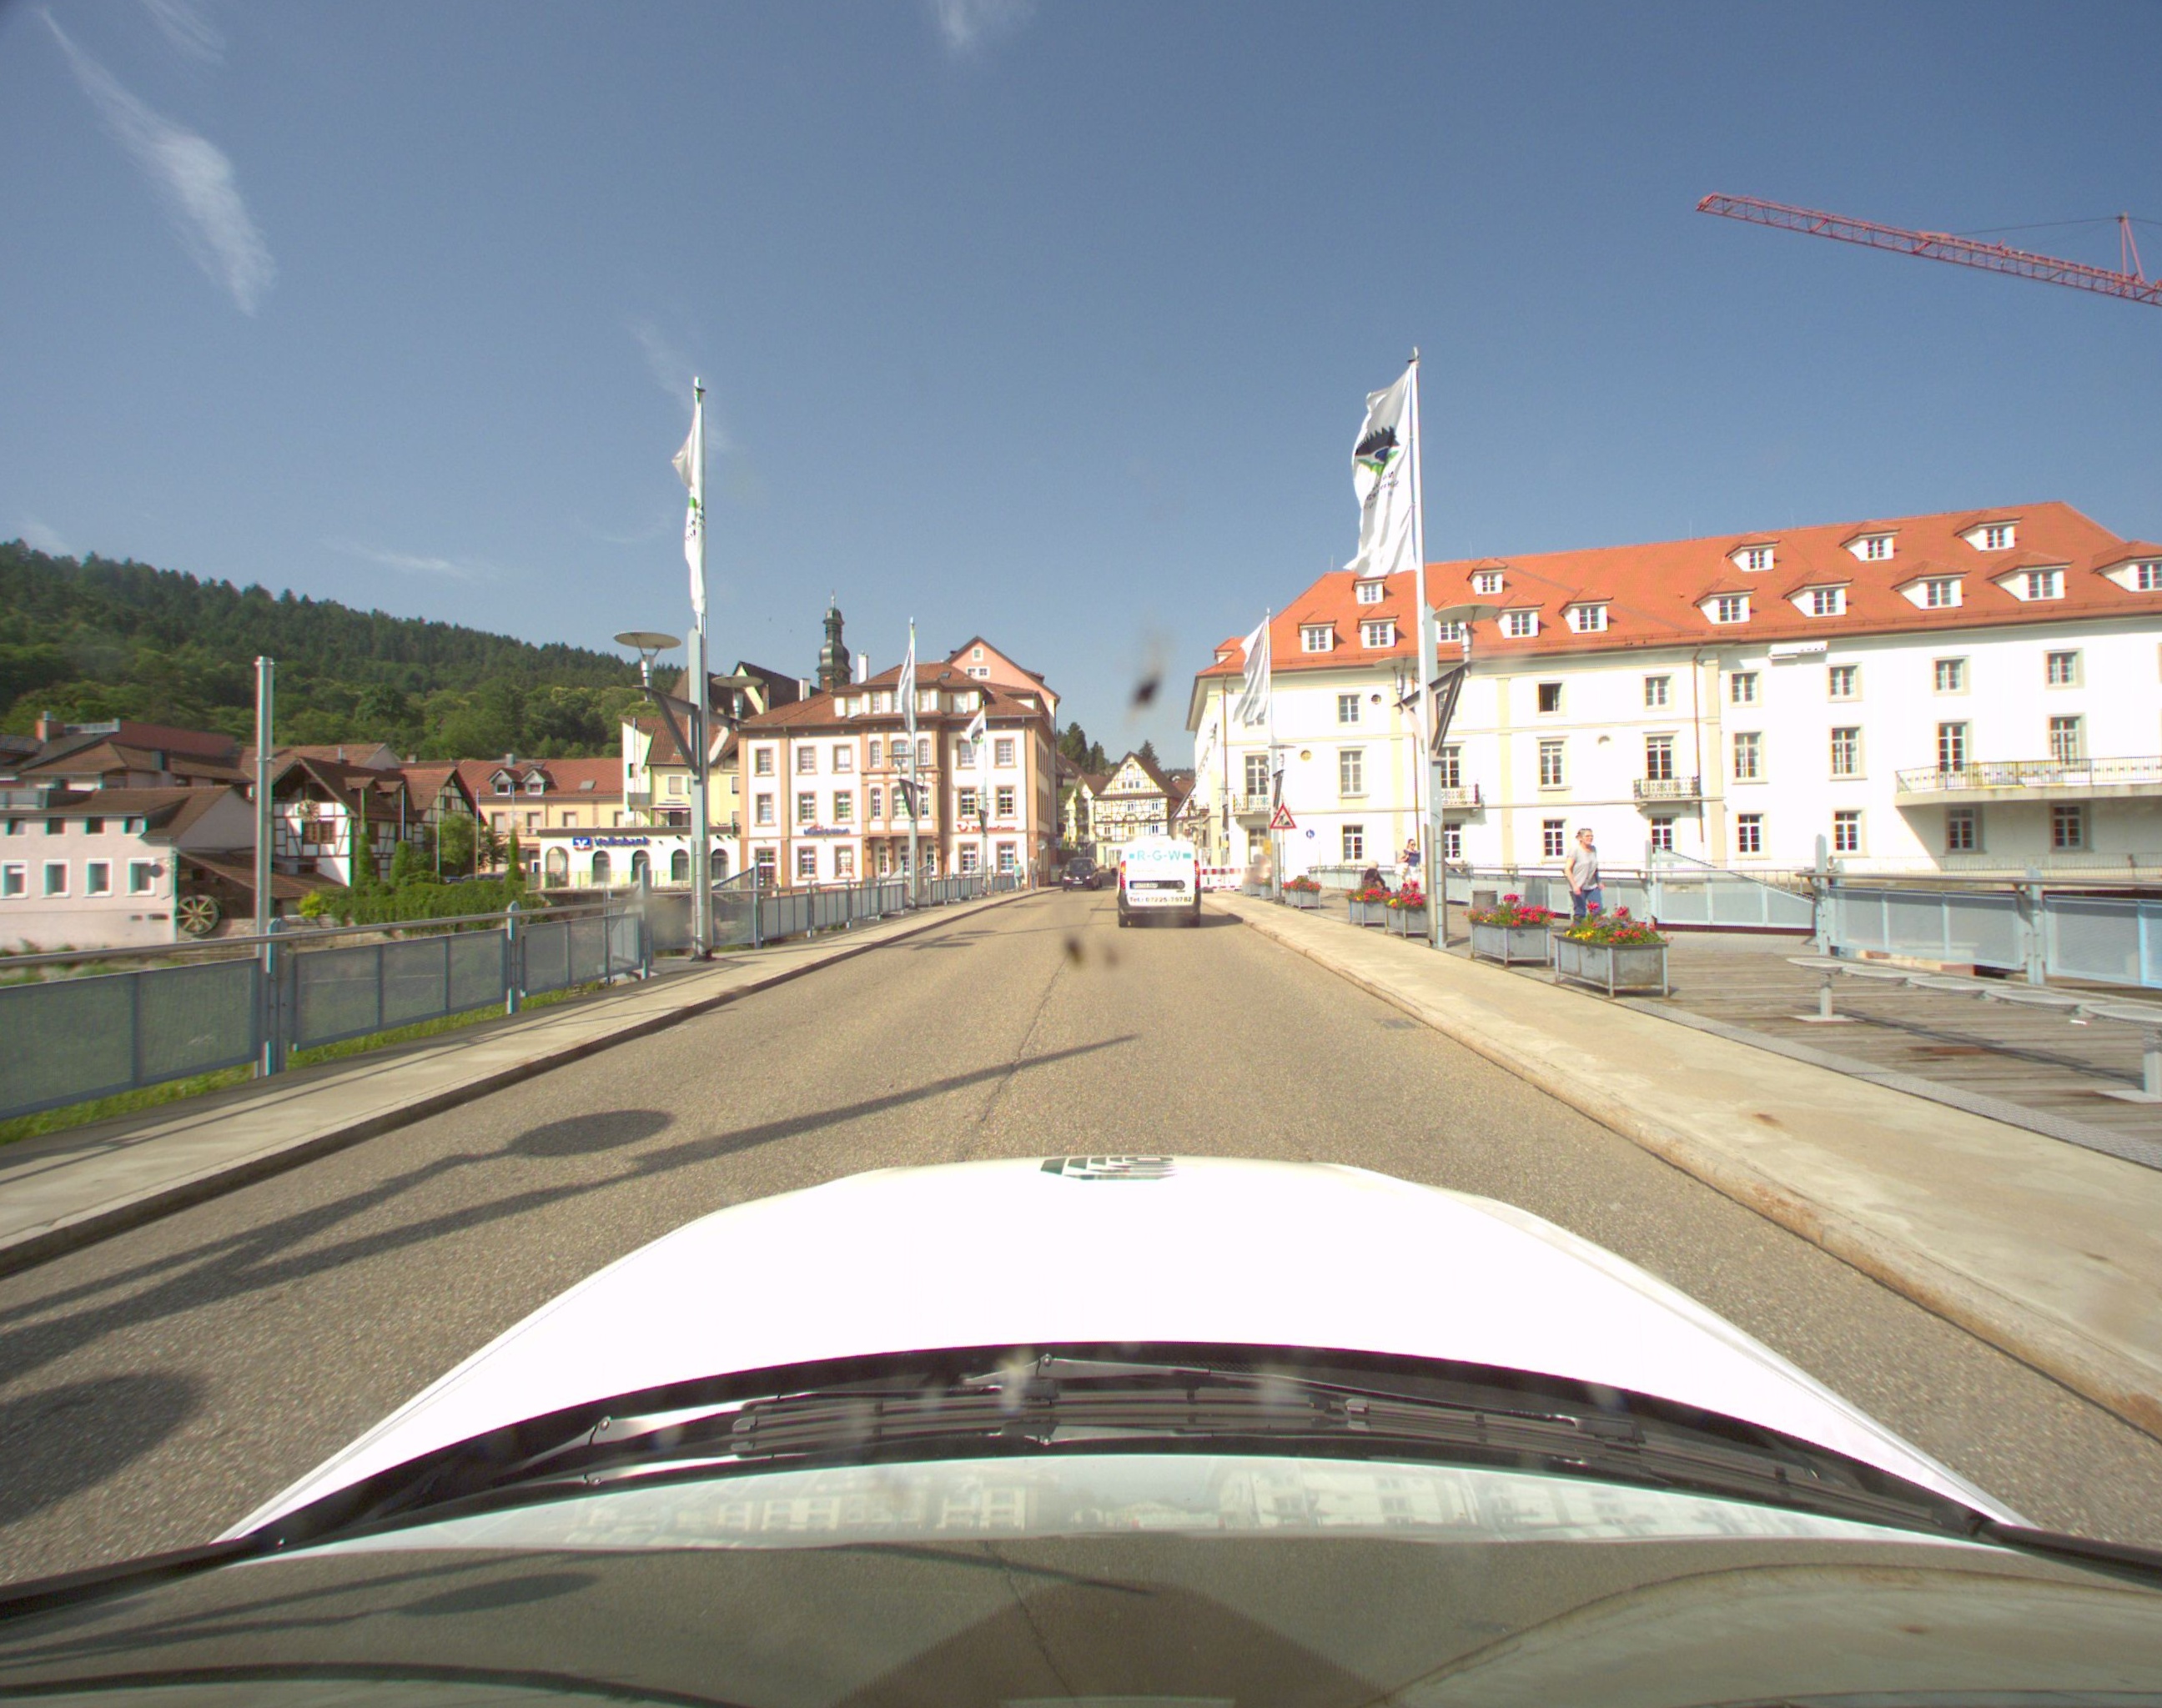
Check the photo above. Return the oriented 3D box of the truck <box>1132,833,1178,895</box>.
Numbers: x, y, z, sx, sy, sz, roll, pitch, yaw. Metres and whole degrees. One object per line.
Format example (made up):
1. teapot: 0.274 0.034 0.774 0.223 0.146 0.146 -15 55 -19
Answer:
1. truck: 3.261 0.436 36.606 1.854 2.585 4.263 -1 -1 3

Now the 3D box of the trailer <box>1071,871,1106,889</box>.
1. trailer: 0.509 1.566 49.322 1.742 1.022 4.192 -2 -2 6

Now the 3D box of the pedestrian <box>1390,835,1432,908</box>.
1. pedestrian: 7.974 0.417 19.727 0.723 1.723 0.748 -1 0 3

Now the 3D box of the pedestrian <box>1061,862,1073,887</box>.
1. pedestrian: -1.048 1.561 61.305 0.800 1.857 0.616 -1 0 2

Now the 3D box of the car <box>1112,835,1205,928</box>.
1. car: 1.687 0.588 18.922 1.837 1.906 4.315 -1 -1 1

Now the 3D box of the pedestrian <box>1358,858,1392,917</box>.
1. pedestrian: 6.380 0.710 17.682 0.450 1.244 0.626 -2 -1 -2

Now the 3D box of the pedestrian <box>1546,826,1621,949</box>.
1. pedestrian: 6.785 0.443 11.018 0.663 1.618 0.564 -1 0 3

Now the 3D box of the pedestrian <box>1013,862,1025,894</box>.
1. pedestrian: -3.159 1.202 41.545 0.581 1.610 0.537 0 0 2

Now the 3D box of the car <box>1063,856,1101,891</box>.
1. car: 0.111 1.042 44.889 1.769 1.792 4.702 0 0 4

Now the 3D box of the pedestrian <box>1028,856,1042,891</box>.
1. pedestrian: -2.306 0.981 41.239 0.612 1.762 0.864 0 0 2
